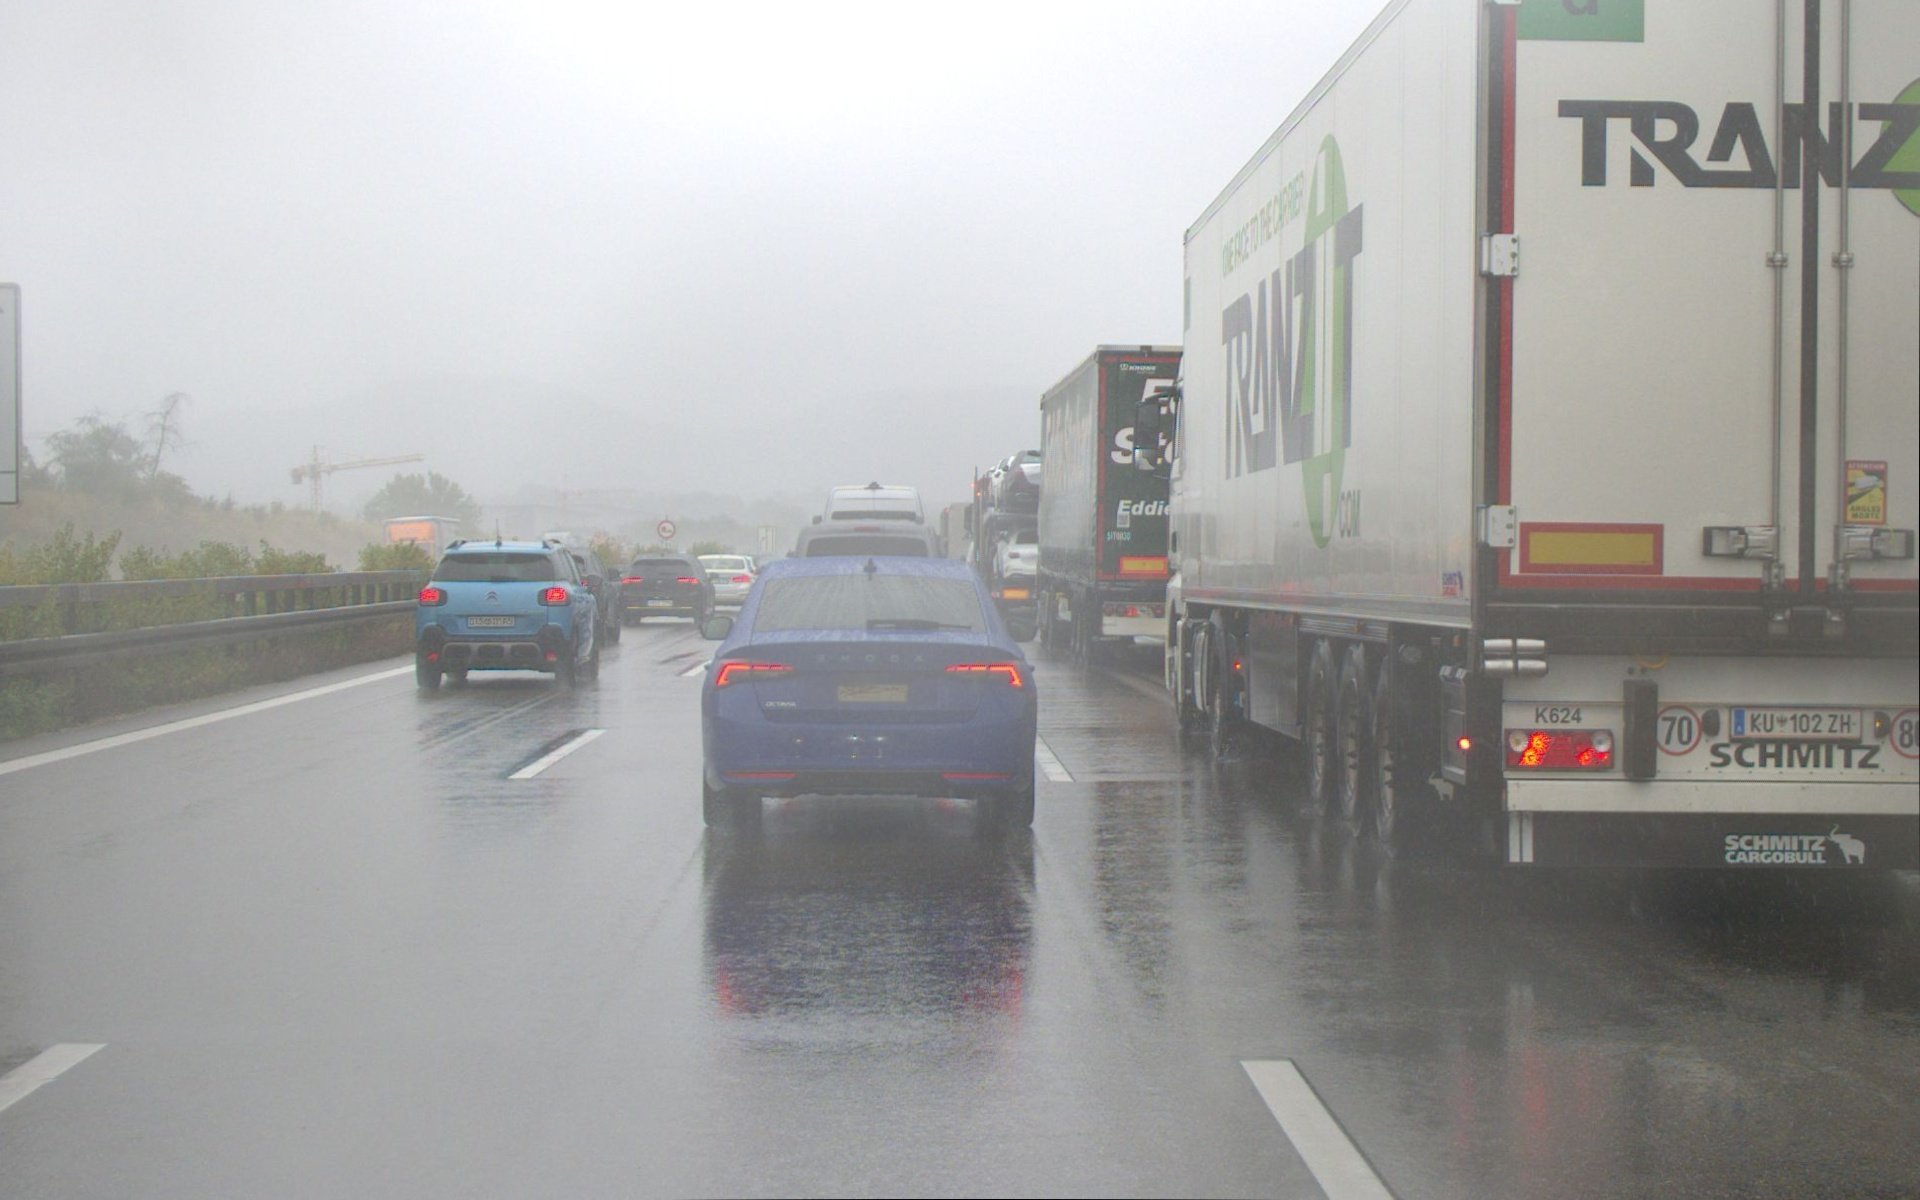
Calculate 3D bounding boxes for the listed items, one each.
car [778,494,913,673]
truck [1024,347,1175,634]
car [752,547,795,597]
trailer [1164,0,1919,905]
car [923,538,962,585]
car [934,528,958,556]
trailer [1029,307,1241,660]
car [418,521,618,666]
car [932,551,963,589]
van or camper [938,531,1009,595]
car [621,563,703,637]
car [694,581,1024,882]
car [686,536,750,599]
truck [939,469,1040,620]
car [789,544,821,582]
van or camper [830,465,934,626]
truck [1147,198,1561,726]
[{"bbox_3d":[-1.166,-0.199,35.712,1.336,1.773,3.322,0,1,-1],"label":"car"},{"bbox_3d":[2.069,-1.637,52.195,2.047,4.178,4.000,0,1,-1],"label":"truck"},{"bbox_3d":[-6.867,-1.044,127.031,1.448,1.777,3.409,1,1,-1],"label":"car"},{"bbox_3d":[3.111,-0.980,20.616,2.630,3.999,14.631,0,1,-1],"label":"trailer"},{"bbox_3d":[-0.700,-1.498,133.516,1.448,1.777,3.409,1,1,-1],"label":"car"},{"bbox_3d":[-0.921,-3.771,224.317,1.448,1.777,3.409,1,1,-1],"label":"car"},{"bbox_3d":[2.176,-1.505,46.298,2.047,4.162,11.449,0,1,-1],"label":"trailer"},{"bbox_3d":[-4.857,-0.103,38.236,1.721,1.518,4.000,0,1,0],"label":"car"},{"bbox_3d":[-0.532,-1.260,144.824,1.248,1.507,3.108,-1,2,-1],"label":"car"},{"bbox_3d":[0.331,-1.012,91.924,1.771,1.619,4.484,0,2,-1],"label":"van or camper"},{"bbox_3d":[-6.040,-0.015,69.944,1.439,1.415,3.322,0,1,-1],"label":"car"},{"bbox_3d":[-0.513,0.642,19.071,1.635,1.440,4.000,0,1,0],"label":"car"},{"bbox_3d":[-6.042,-0.827,86.109,1.439,1.528,3.322,0,1,-1],"label":"car"},{"bbox_3d":[0.645,-1.377,82.037,1.993,3.410,8.033,0,2,-2],"label":"truck"},{"bbox_3d":[-7.458,-1.789,165.793,1.448,1.777,3.409,1,1,-1],"label":"car"},{"bbox_3d":[-1.404,-0.998,62.306,1.797,2.797,4.768,0,1,-1],"label":"van or camper"},{"bbox_3d":[2.982,-1.049,27.289,2.630,3.814,4.792,0,1,-1],"label":"truck"}]
